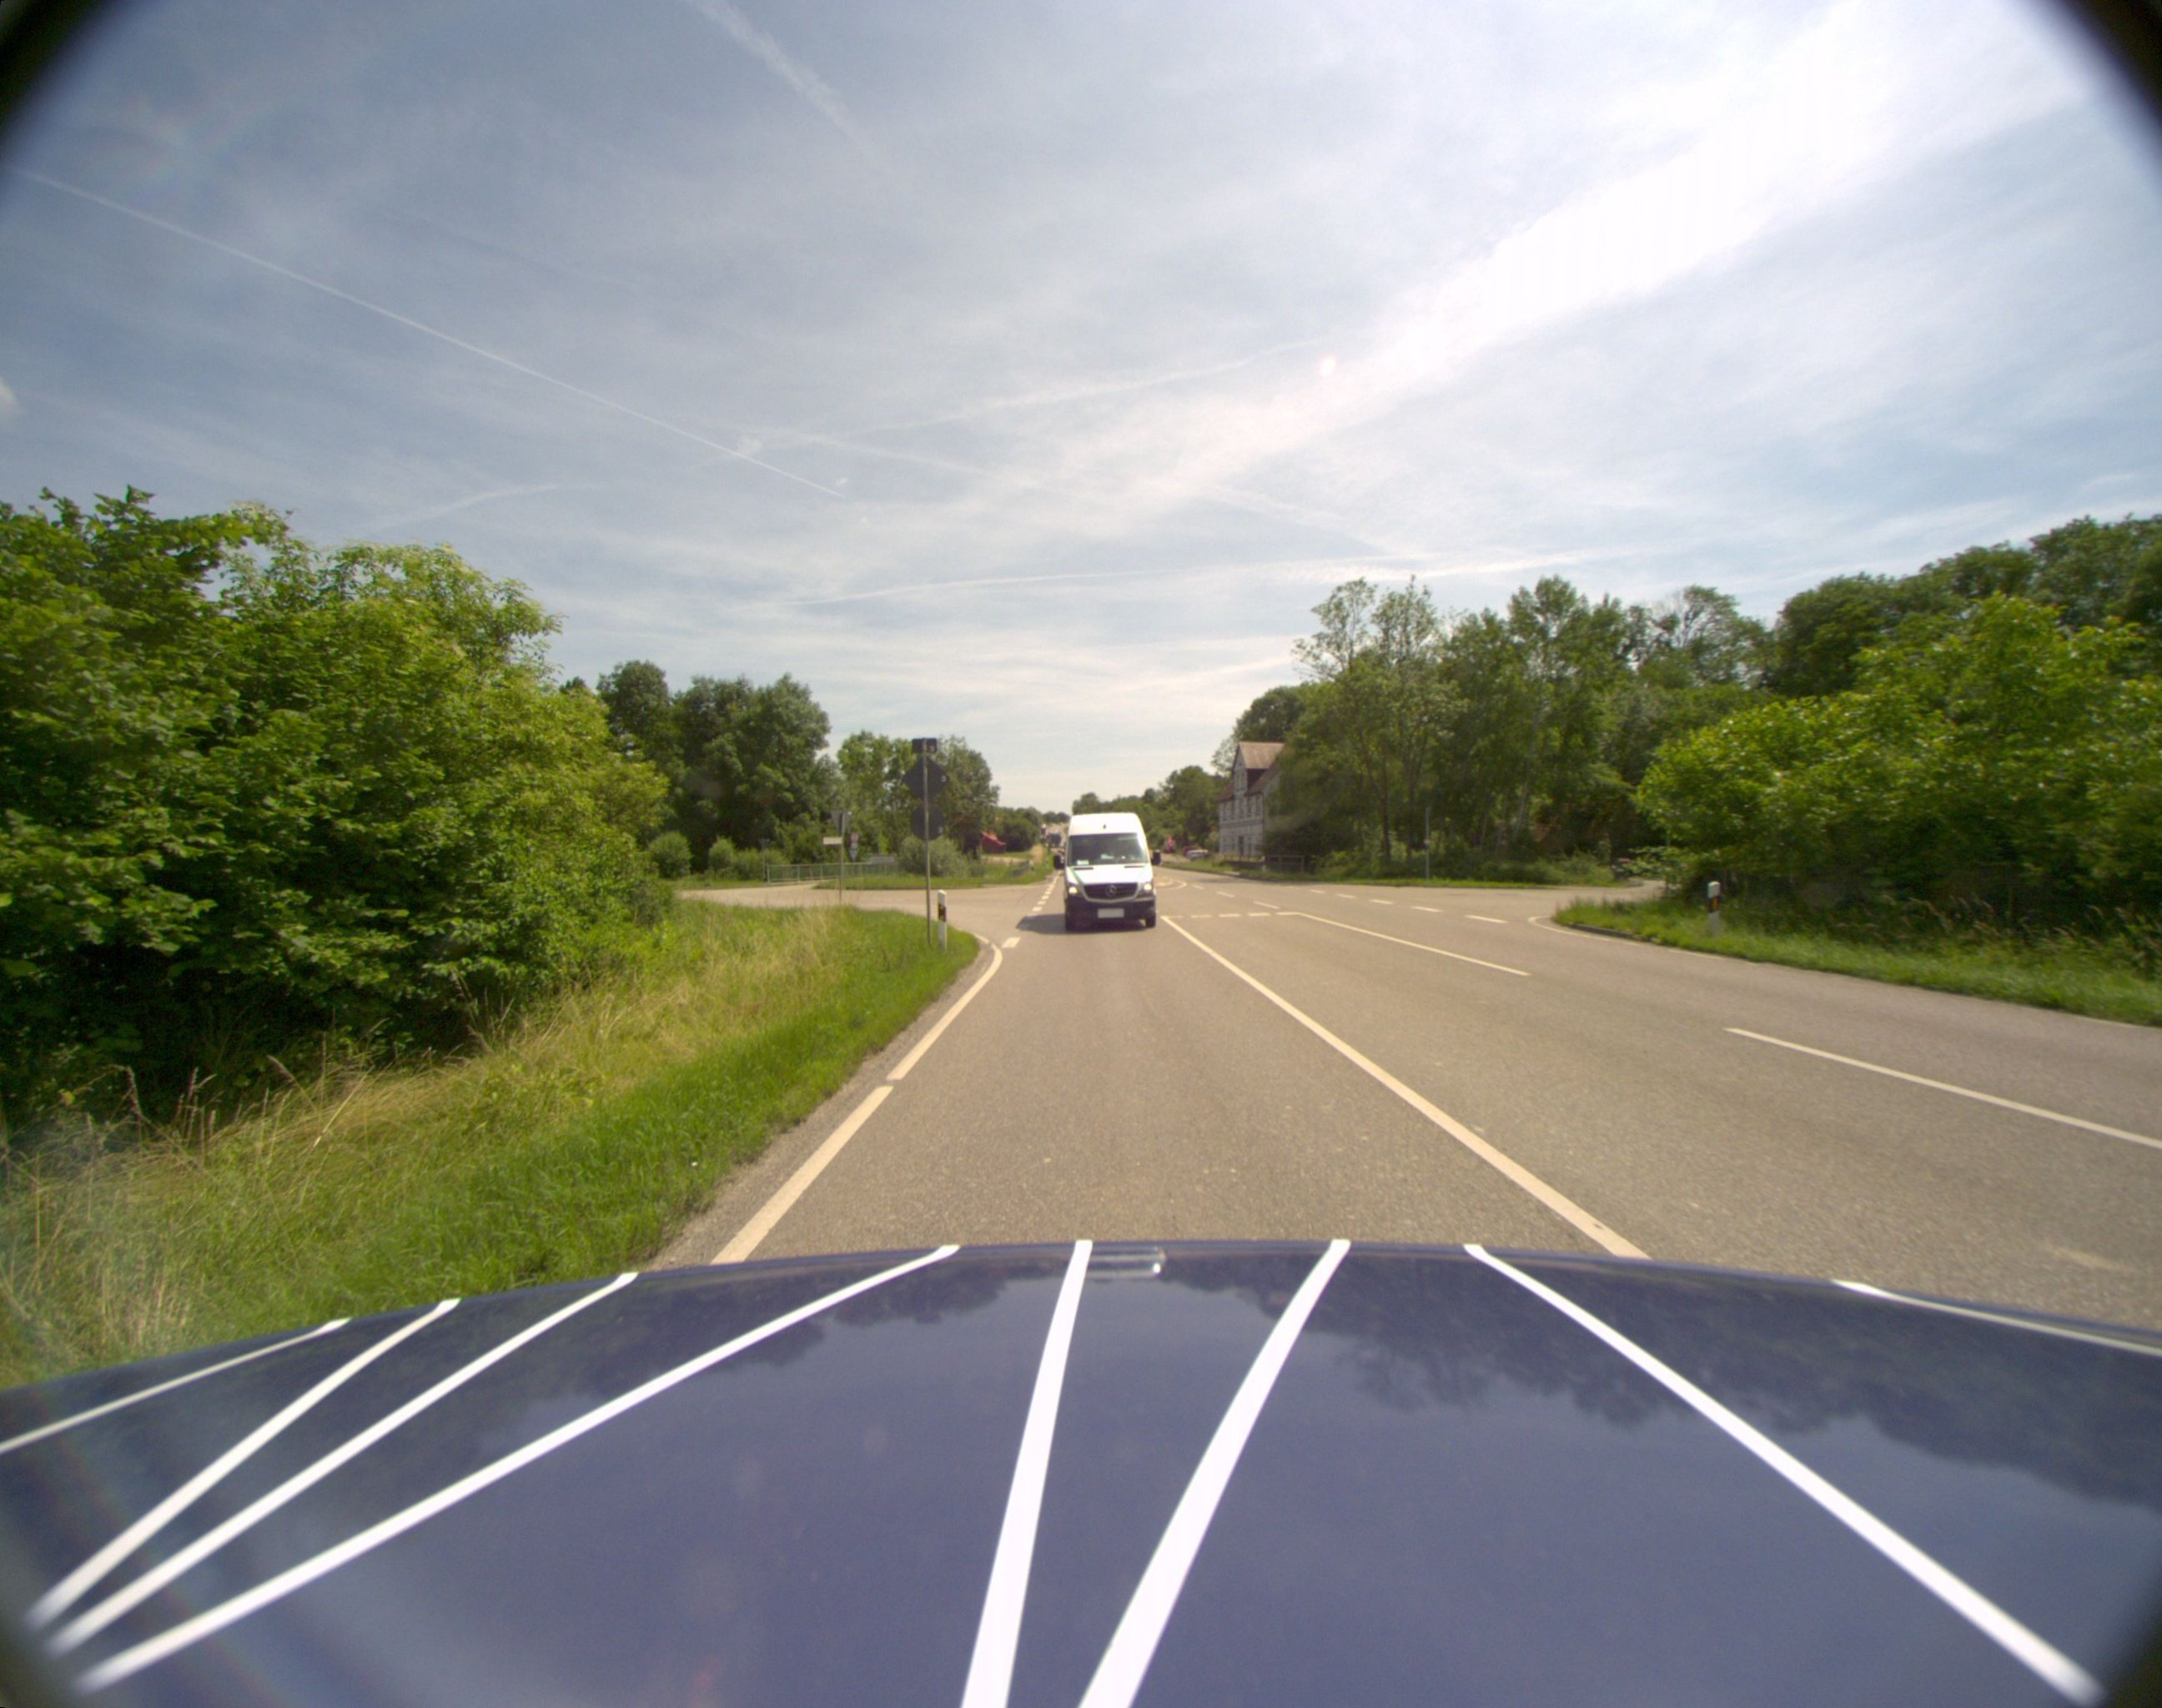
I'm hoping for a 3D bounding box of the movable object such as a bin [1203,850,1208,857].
[{"bbox_3d":[17.300,-0.103,105.315,0.505,0.966,0.654,-2,3,-9],"label":"movable object such as a bin"}]

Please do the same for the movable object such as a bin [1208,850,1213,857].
[{"bbox_3d":[18.002,-0.074,105.292,0.505,0.971,0.654,-2,3,-9],"label":"movable object such as a bin"}]

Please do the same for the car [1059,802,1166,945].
[{"bbox_3d":[0.550,0.362,17.316,1.961,2.655,5.680,-2,0,-1],"label":"car"}]

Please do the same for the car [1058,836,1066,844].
[{"bbox_3d":[-4.973,-3.757,202.008,1.999,2.166,3.999,-2,1,0],"label":"car"}]

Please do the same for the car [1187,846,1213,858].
[{"bbox_3d":[16.883,-0.302,107.984,3.387,1.457,1.609,-2,2,-7],"label":"car"}]

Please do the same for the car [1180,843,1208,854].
[{"bbox_3d":[17.520,-0.838,118.028,4.037,1.609,1.832,-2,2,0],"label":"car"}]

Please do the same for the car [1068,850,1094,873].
[{"bbox_3d":[-0.054,0.545,57.718,1.848,1.692,4.242,-1,0,-1],"label":"car"}]

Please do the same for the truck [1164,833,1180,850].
[{"bbox_3d":[16.633,-2.318,138.786,2.031,2.947,6.770,-2,2,0],"label":"truck"}]

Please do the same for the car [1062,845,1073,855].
[{"bbox_3d":[-2.442,-0.696,135.531,1.849,1.693,4.239,-1,3,-3],"label":"car"}]
